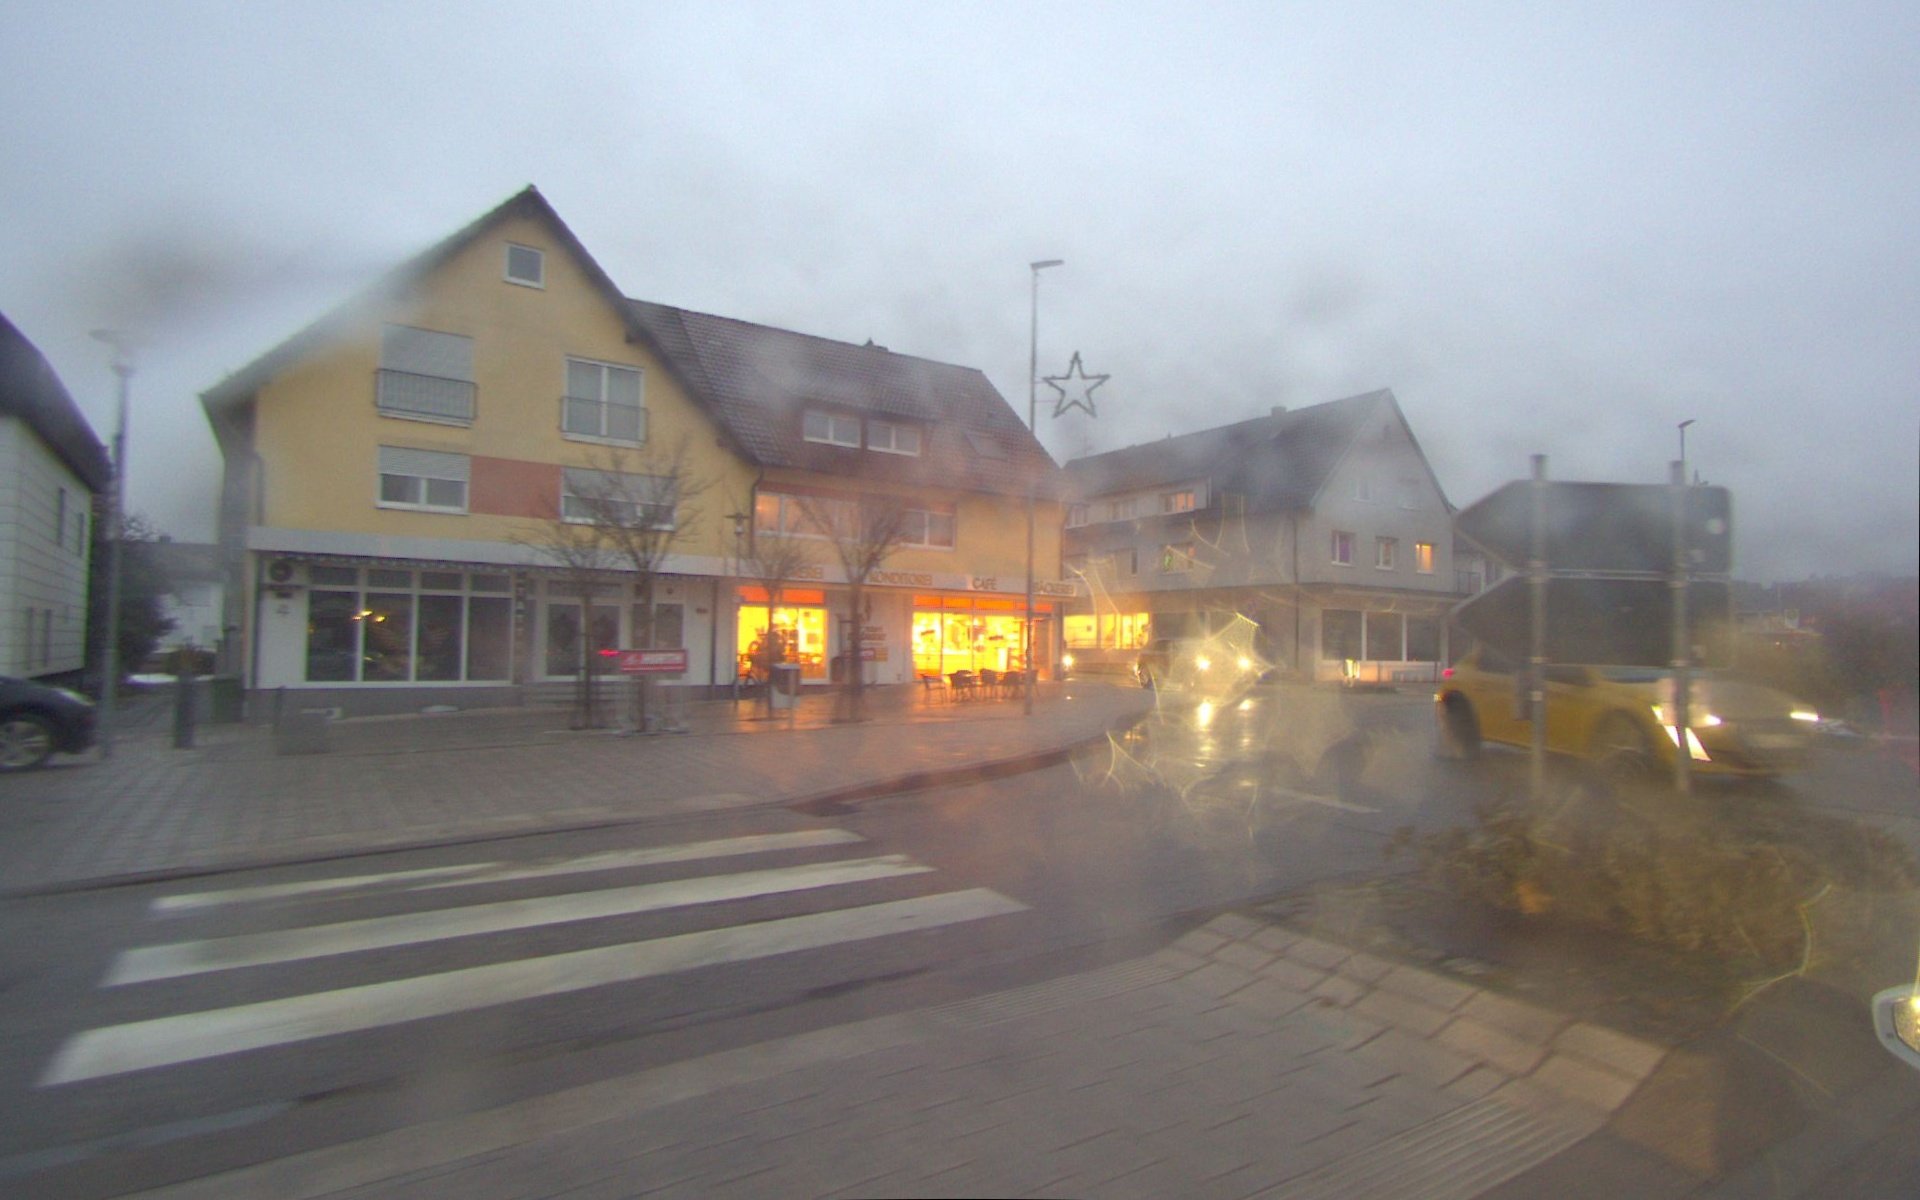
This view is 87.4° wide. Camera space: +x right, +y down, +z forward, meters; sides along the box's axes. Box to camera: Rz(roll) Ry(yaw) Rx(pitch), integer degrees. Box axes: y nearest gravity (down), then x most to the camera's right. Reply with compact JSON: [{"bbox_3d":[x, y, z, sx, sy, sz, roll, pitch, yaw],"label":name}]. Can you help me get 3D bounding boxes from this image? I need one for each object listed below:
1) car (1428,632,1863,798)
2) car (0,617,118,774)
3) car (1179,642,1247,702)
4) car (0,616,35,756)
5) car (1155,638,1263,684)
[{"bbox_3d":[7.071,1.079,10.965,1.683,1.440,4.008,0,-2,-7],"label":"car"},{"bbox_3d":[-10.742,0.899,9.249,1.876,1.551,4.182,0,-3,19],"label":"car"},{"bbox_3d":[8.066,2.247,32.385,1.914,1.614,4.635,1,-1,12],"label":"car"},{"bbox_3d":[-13.061,1.010,11.003,1.805,1.691,3.896,-3,-4,22],"label":"car"},{"bbox_3d":[9.858,2.381,39.999,1.688,1.684,4.027,2,-2,-36],"label":"car"}]
